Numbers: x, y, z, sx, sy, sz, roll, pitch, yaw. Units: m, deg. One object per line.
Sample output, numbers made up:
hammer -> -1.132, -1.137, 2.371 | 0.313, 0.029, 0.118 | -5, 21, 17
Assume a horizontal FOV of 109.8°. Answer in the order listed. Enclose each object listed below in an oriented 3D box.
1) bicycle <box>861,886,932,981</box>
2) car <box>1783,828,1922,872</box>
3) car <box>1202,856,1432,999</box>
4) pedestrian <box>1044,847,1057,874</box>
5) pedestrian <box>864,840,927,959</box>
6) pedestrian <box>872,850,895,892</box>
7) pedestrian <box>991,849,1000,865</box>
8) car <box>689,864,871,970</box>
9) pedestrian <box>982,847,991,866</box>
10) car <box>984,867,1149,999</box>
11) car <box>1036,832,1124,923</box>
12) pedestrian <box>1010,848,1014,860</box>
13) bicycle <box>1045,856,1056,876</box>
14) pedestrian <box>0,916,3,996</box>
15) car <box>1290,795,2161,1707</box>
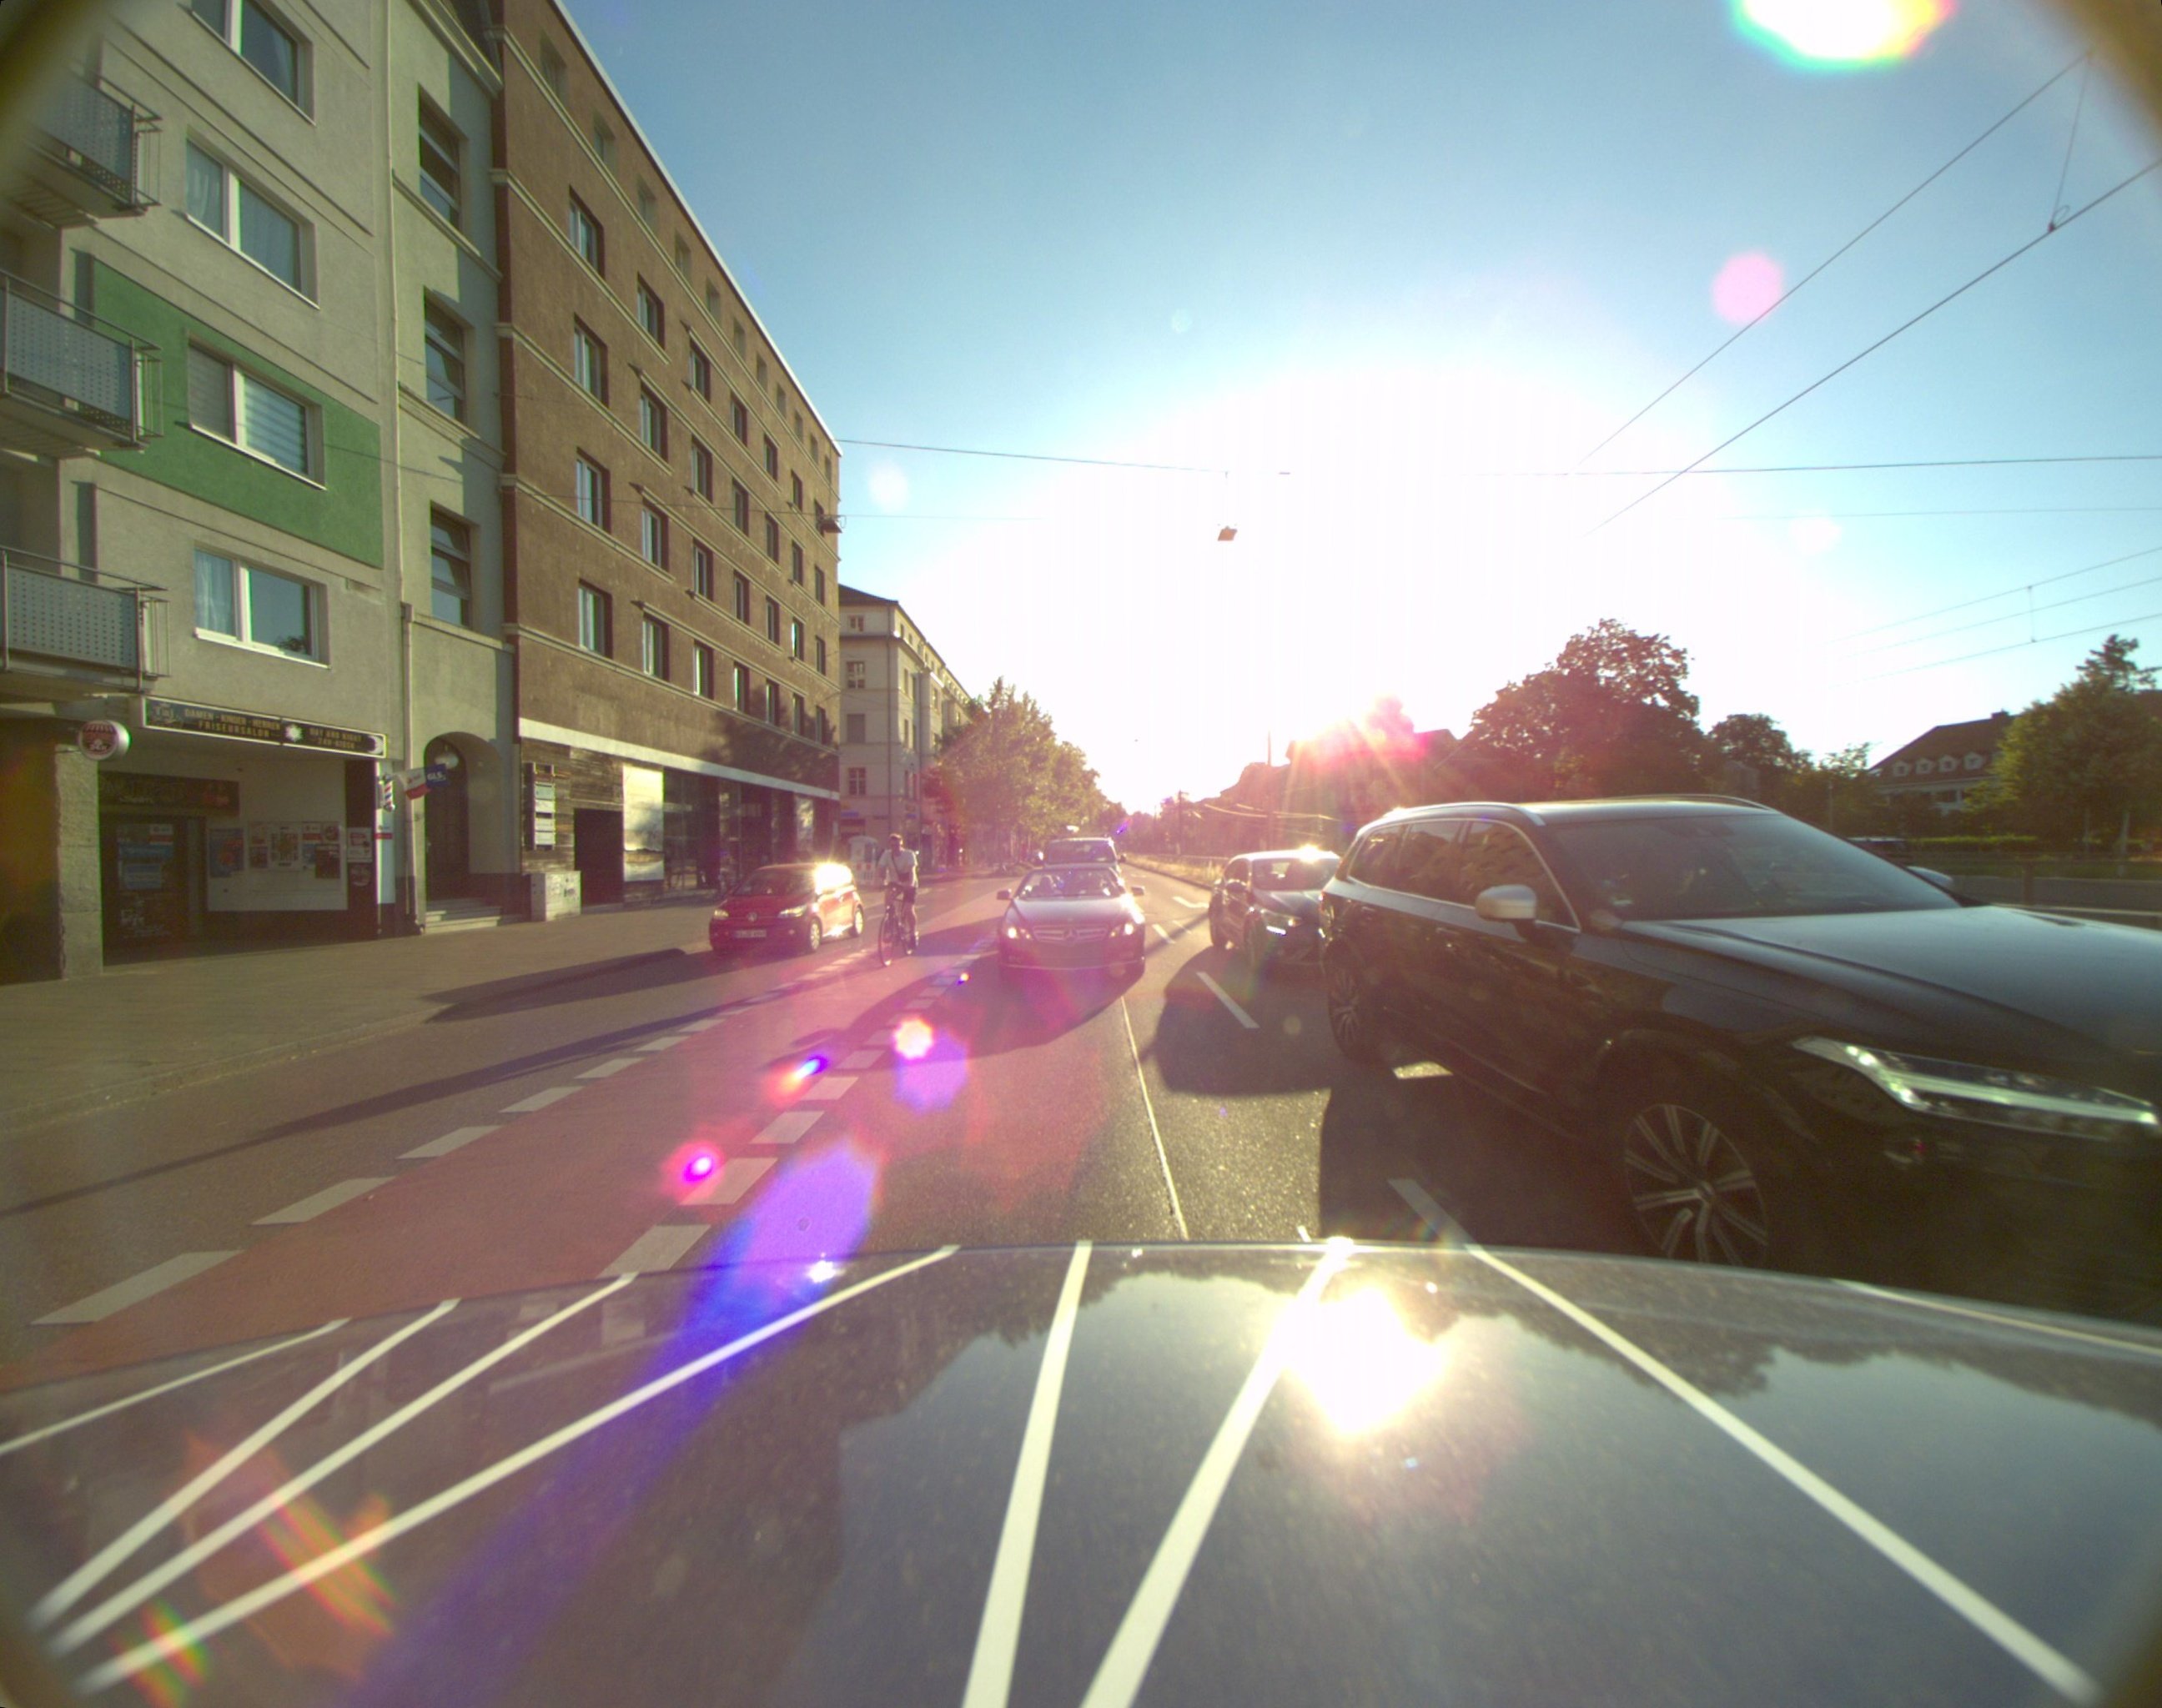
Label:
bicycle -> -2.621, 1.094, 10.979 | 0.530, 1.152, 1.849 | -2, 1, 1
car -> 32.024, -0.176, 31.721 | 1.715, 1.685, 4.090 | -1, 1, 1
car -> 2.840, 0.790, 10.101 | 1.815, 1.393, 3.919 | -3, 1, 1
pedestrian -> -1.890, 0.391, 46.799 | 0.679, 1.639, 0.901 | -2, 1, 2
pedestrian -> -2.676, 0.635, 11.041 | 0.640, 1.639, 0.843 | -2, 1, 0
pedestrian -> -7.649, 0.643, 29.433 | 0.603, 1.587, 0.884 | -1, 1, 0
pedestrian -> -7.900, 0.256, 70.107 | 0.728, 1.431, 0.924 | -1, 1, 0
car -> -5.131, 0.997, 13.470 | 1.687, 1.472, 3.539 | -2, 1, 1
pedestrian -> -8.752, 0.233, 70.441 | 0.728, 1.666, 0.924 | -1, 1, 0
car -> -0.155, 0.902, 10.439 | 1.776, 1.300, 4.240 | -1, 1, 0
car -> -0.017, 0.506, 19.258 | 1.920, 1.978, 4.946 | -1, 1, 0
pedestrian -> -8.465, -0.012, 93.325 | 0.310, 1.431, 0.357 | -1, 1, 8
bicycle -> -1.864, 0.726, 46.787 | 0.530, 1.152, 1.849 | -2, 1, 2
pedestrian -> -12.714, 1.061, 8.369 | 0.606, 1.145, 0.727 | -1, 1, 0
car -> 2.772, 0.690, 3.787 | 1.956, 1.702, 4.850 | -3, 1, -1
